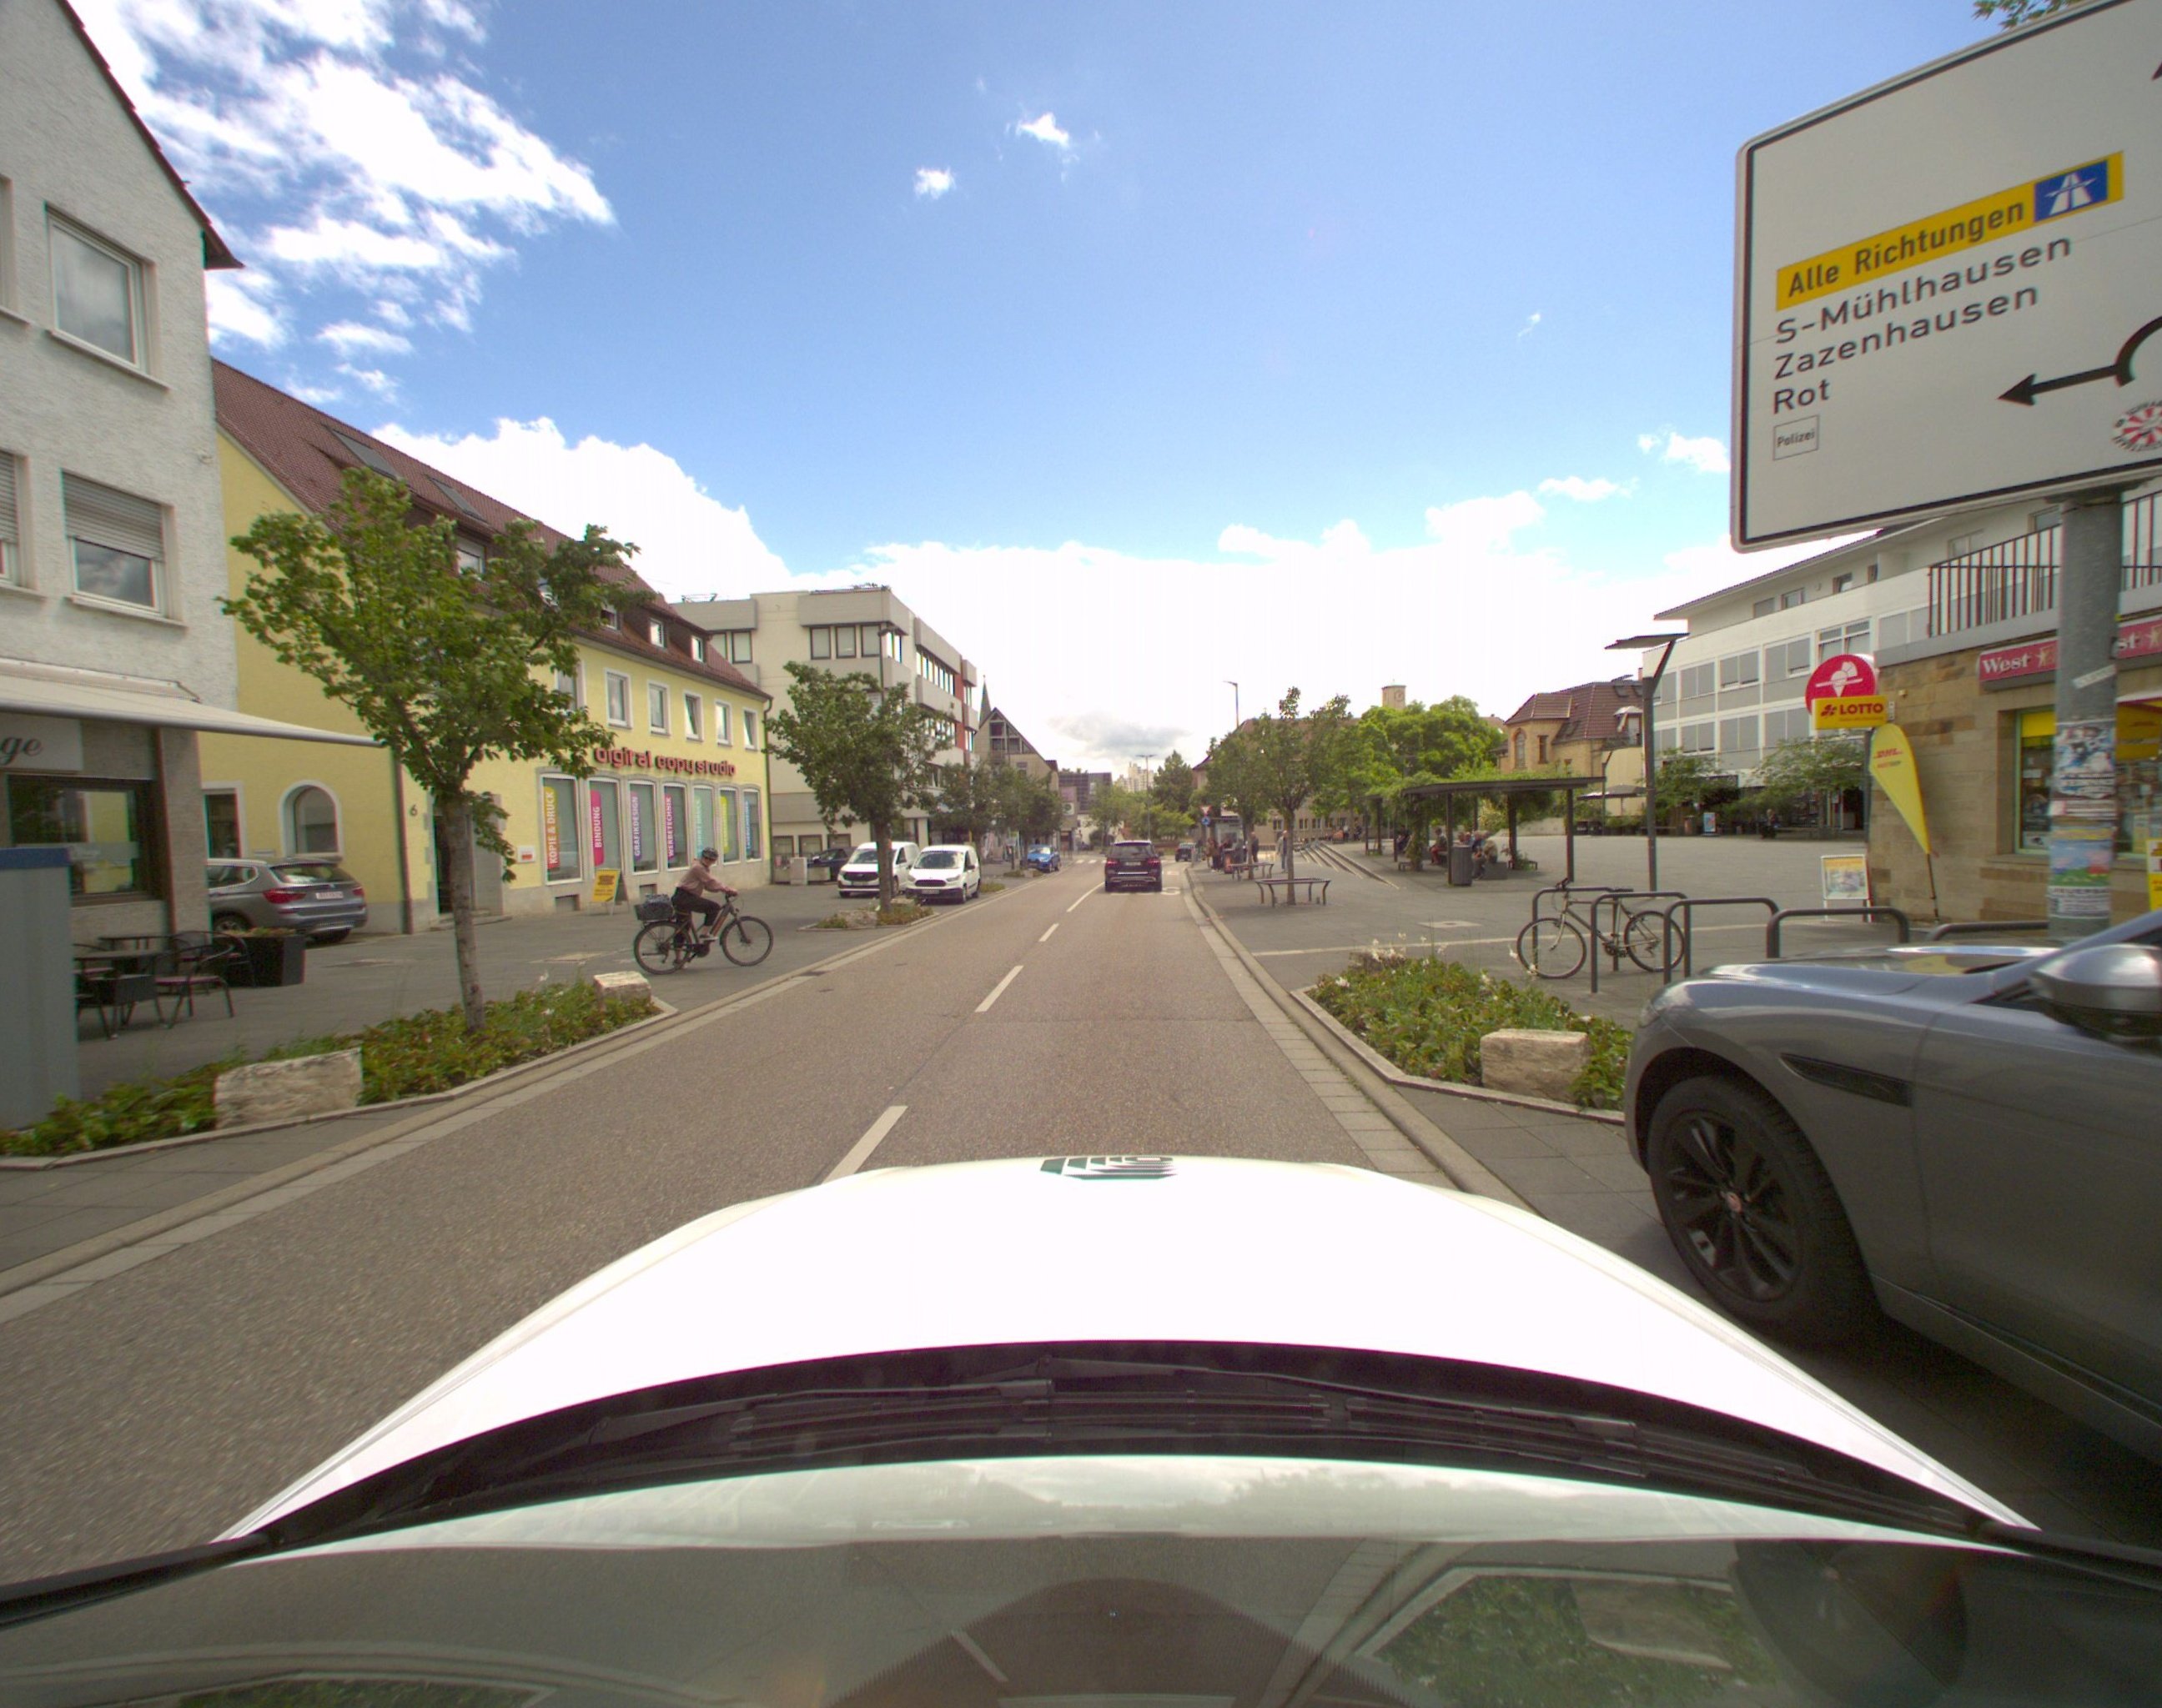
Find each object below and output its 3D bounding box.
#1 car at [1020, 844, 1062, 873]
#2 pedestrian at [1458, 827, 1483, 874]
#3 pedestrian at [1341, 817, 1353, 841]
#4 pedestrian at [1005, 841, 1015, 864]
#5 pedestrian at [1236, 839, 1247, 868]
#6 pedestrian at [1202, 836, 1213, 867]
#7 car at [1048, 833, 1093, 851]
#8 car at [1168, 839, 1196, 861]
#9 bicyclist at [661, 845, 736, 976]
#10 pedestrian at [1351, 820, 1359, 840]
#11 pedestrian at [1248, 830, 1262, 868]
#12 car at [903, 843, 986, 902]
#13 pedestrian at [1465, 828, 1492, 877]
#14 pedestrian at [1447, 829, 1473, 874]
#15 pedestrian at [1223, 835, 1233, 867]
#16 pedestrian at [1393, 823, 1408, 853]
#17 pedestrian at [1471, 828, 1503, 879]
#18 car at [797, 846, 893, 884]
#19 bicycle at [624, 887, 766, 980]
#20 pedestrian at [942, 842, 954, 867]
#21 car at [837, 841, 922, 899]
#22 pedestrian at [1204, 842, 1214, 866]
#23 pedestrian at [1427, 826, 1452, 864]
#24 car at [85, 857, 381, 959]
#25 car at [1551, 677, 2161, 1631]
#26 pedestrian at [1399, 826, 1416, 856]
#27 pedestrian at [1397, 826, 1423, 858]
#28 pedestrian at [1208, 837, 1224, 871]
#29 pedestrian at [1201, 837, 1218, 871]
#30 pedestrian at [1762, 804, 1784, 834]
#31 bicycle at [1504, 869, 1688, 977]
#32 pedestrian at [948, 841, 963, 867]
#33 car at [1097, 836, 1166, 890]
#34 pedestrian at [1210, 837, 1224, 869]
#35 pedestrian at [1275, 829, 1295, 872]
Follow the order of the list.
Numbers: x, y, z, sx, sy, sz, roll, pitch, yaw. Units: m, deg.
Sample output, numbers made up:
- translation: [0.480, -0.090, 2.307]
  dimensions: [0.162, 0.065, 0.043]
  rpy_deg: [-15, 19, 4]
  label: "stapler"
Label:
- translation: [-2.307, 0.203, 48.403]
  dimensions: [1.685, 1.599, 4.342]
  rpy_deg: [1, 1, 8]
  label: "car"
- translation: [11.172, -0.103, 23.391]
  dimensions: [0.495, 1.320, 0.526]
  rpy_deg: [-2, 3, 10]
  label: "pedestrian"
- translation: [17.087, -1.591, 52.277]
  dimensions: [0.504, 1.508, 0.451]
  rpy_deg: [-3, 1, -18]
  label: "pedestrian"
- translation: [-5.100, -0.118, 58.569]
  dimensions: [0.584, 1.588, 0.640]
  rpy_deg: [-1, 1, 7]
  label: "pedestrian"
- translation: [7.434, -0.012, 37.758]
  dimensions: [0.387, 1.306, 0.355]
  rpy_deg: [-4, 0, 7]
  label: "pedestrian"
- translation: [6.749, -0.126, 43.432]
  dimensions: [0.383, 1.619, 0.471]
  rpy_deg: [-4, 0, 21]
  label: "pedestrian"
- translation: [-1.492, -1.745, 119.911]
  dimensions: [6.297, 2.560, 2.194]
  rpy_deg: [0, -2, -16]
  label: "car"
- translation: [7.739, -0.366, 62.548]
  dimensions: [2.042, 1.588, 4.381]
  rpy_deg: [1, 1, 6]
  label: "car"
- translation: [-5.238, 0.747, 11.159]
  dimensions: [0.781, 1.695, 0.504]
  rpy_deg: [-3, 0, -34]
  label: "bicyclist"
- translation: [17.747, -1.573, 52.708]
  dimensions: [0.360, 1.285, 0.643]
  rpy_deg: [-2, 1, 11]
  label: "pedestrian"
- translation: [8.046, -0.236, 37.642]
  dimensions: [0.509, 1.680, 0.577]
  rpy_deg: [-3, 1, 5]
  label: "pedestrian"
- translation: [-4.107, 0.495, 25.119]
  dimensions: [1.650, 1.672, 4.353]
  rpy_deg: [0, 1, 2]
  label: "car"
- translation: [11.101, -0.047, 22.755]
  dimensions: [0.492, 1.320, 0.577]
  rpy_deg: [-2, 3, 9]
  label: "pedestrian"
- translation: [11.207, -0.080, 24.093]
  dimensions: [0.565, 1.262, 0.543]
  rpy_deg: [-2, 3, 9]
  label: "pedestrian"
- translation: [7.306, -0.133, 40.442]
  dimensions: [0.392, 1.566, 0.352]
  rpy_deg: [-3, 1, -1]
  label: "pedestrian"
- translation: [14.402, -0.722, 36.670]
  dimensions: [0.563, 1.323, 0.548]
  rpy_deg: [-1, 1, 15]
  label: "pedestrian"
- translation: [11.031, -0.024, 22.126]
  dimensions: [0.612, 1.320, 0.587]
  rpy_deg: [-2, 3, 8]
  label: "pedestrian"
- translation: [-10.117, 0.458, 35.112]
  dimensions: [3.617, 1.558, 1.668]
  rpy_deg: [-1, 1, -2]
  label: "car"
- translation: [-5.248, 1.053, 11.129]
  dimensions: [1.661, 1.087, 0.409]
  rpy_deg: [-3, 0, -35]
  label: "bicycle"
- translation: [-8.402, 0.013, 51.548]
  dimensions: [0.507, 1.566, 0.588]
  rpy_deg: [-3, 1, 6]
  label: "pedestrian"
- translation: [-6.795, 0.484, 27.876]
  dimensions: [1.750, 1.813, 4.477]
  rpy_deg: [0, 1, 0]
  label: "car"
- translation: [6.726, -0.011, 42.788]
  dimensions: [0.399, 1.226, 0.390]
  rpy_deg: [-2, 1, 28]
  label: "pedestrian"
- translation: [12.662, -0.334, 28.773]
  dimensions: [0.620, 1.307, 0.547]
  rpy_deg: [-3, 1, 9]
  label: "pedestrian"
- translation: [-15.240, 0.930, 14.777]
  dimensions: [3.515, 1.650, 1.733]
  rpy_deg: [-1, 1, 1]
  label: "car"
- translation: [2.887, 0.518, 1.079]
  dimensions: [1.921, 1.724, 4.574]
  rpy_deg: [-2, 0, 1]
  label: "car"
- translation: [13.575, -0.527, 33.865]
  dimensions: [0.563, 1.227, 0.568]
  rpy_deg: [-1, 1, 15]
  label: "pedestrian"
- translation: [13.327, -0.489, 32.988]
  dimensions: [0.680, 1.269, 0.762]
  rpy_deg: [-2, 1, -38]
  label: "pedestrian"
- translation: [6.241, -0.003, 37.735]
  dimensions: [0.508, 1.549, 0.490]
  rpy_deg: [-2, 1, 32]
  label: "pedestrian"
- translation: [6.008, 0.009, 38.126]
  dimensions: [0.489, 1.549, 0.537]
  rpy_deg: [-3, 1, -41]
  label: "pedestrian"
- translation: [30.849, -1.562, 36.301]
  dimensions: [0.570, 1.323, 0.542]
  rpy_deg: [-1, 1, -21]
  label: "pedestrian"
- translation: [5.377, 0.708, 8.528]
  dimensions: [1.723, 0.996, 0.345]
  rpy_deg: [-3, 0, -4]
  label: "bicycle"
- translation: [-7.863, -0.019, 50.947]
  dimensions: [0.637, 1.566, 0.589]
  rpy_deg: [-3, 1, 19]
  label: "pedestrian"
- translation: [1.688, 0.338, 28.615]
  dimensions: [2.022, 1.727, 4.430]
  rpy_deg: [-1, -1, -2]
  label: "car"
- translation: [6.733, -0.051, 40.368]
  dimensions: [0.499, 1.566, 0.496]
  rpy_deg: [-3, 1, -7]
  label: "pedestrian"
- translation: [8.188, -0.132, 32.658]
  dimensions: [0.679, 1.682, 0.717]
  rpy_deg: [-2, 0, 16]
  label: "pedestrian"
